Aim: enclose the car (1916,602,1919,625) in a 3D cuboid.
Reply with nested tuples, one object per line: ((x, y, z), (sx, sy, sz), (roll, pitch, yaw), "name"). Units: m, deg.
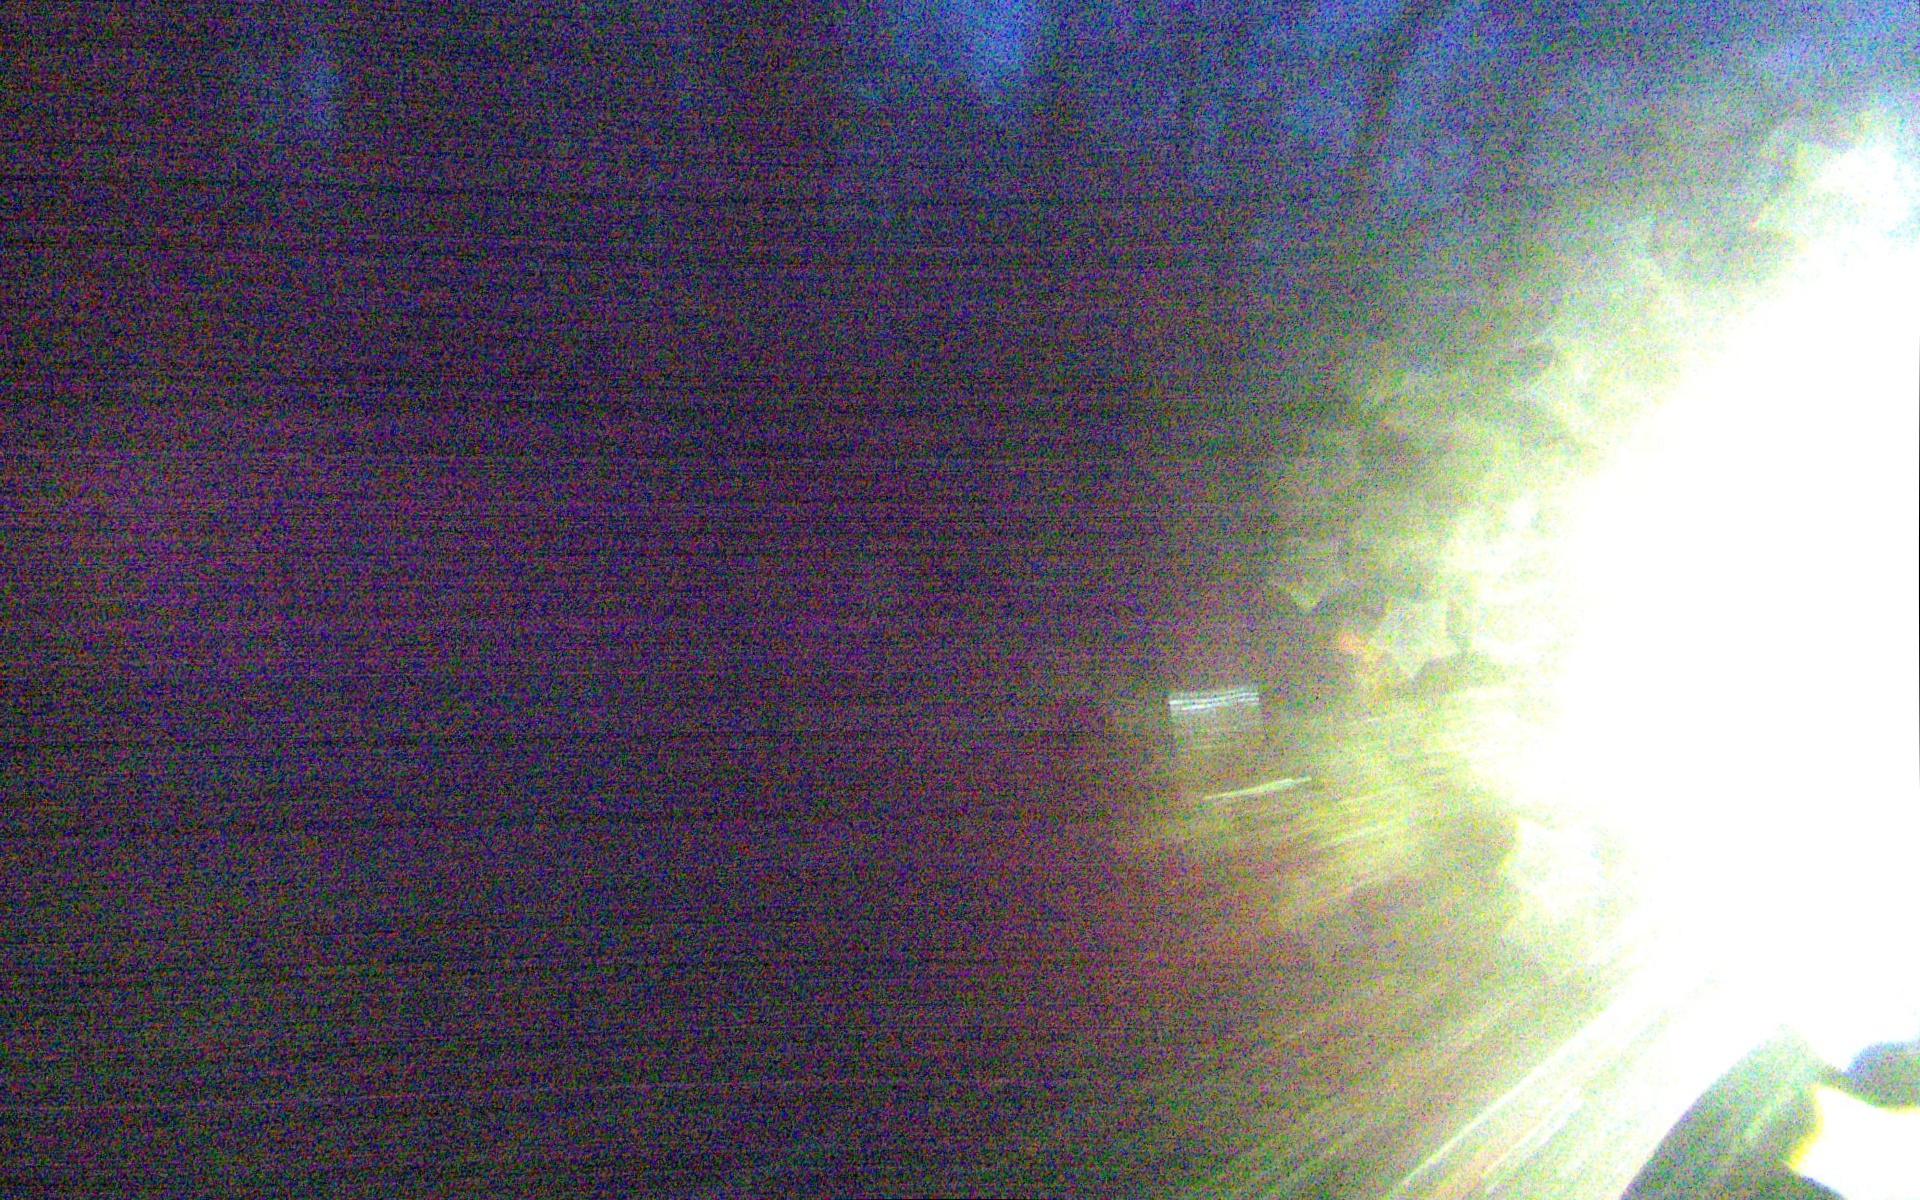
((69.206, 1.018, 71.816), (1.897, 1.580, 3.937), (5, 3, 43), "car")
